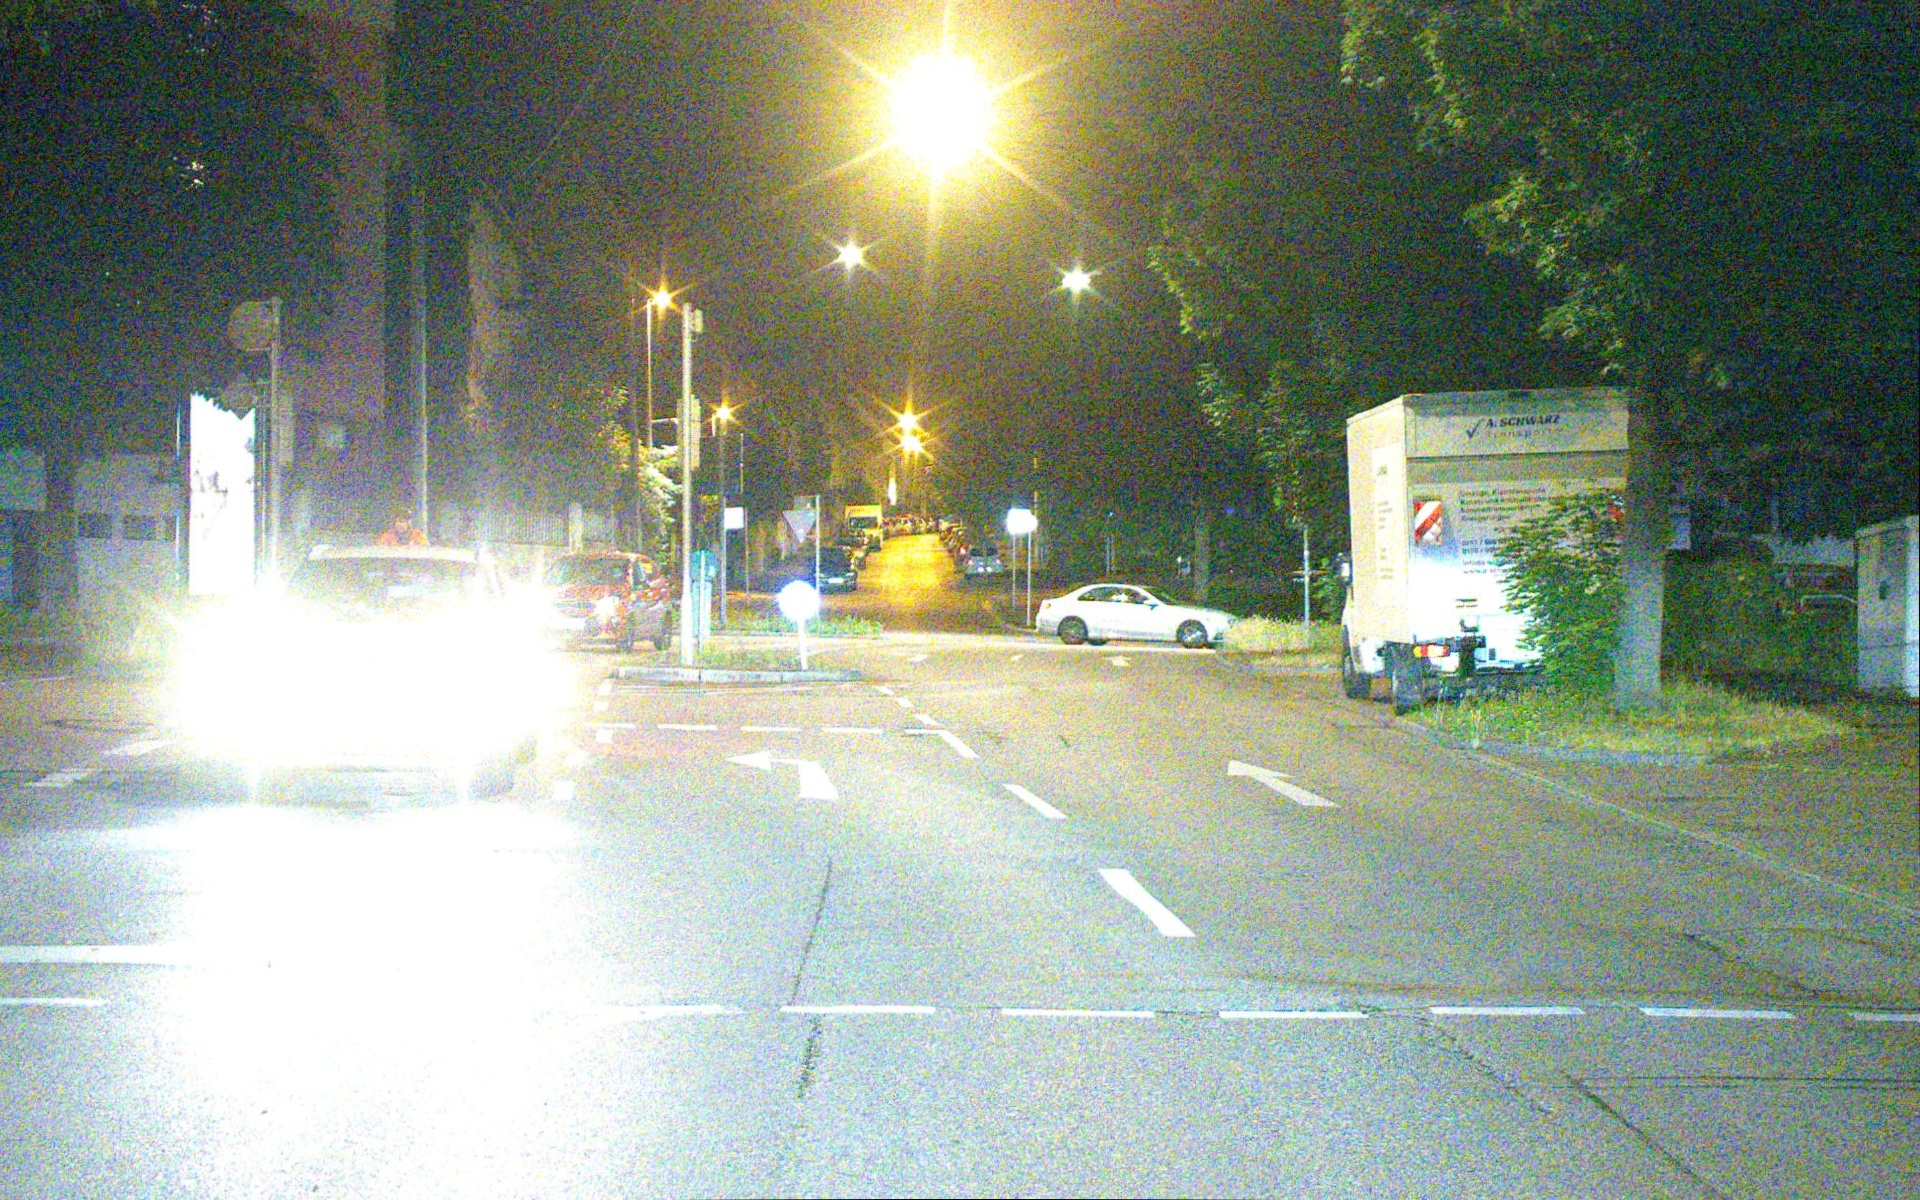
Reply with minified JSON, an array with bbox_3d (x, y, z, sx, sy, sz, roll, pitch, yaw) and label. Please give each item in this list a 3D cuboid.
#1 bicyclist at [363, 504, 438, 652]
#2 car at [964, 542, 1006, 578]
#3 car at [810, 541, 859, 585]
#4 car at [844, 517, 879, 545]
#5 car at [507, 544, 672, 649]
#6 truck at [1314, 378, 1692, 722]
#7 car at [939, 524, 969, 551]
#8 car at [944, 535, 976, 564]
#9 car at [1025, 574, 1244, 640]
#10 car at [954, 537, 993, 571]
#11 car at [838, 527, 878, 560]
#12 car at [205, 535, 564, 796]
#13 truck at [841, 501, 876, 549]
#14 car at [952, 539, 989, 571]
[{"bbox_3d":[-6.250,-0.248,38.450,0.690,1.631,0.896,1,0,-1],"label":"bicyclist"},{"bbox_3d":[1.036,-1.684,143.361,1.634,1.447,3.485,1,1,-1],"label":"car"},{"bbox_3d":[-4.891,-1.468,134.448,1.815,1.678,4.000,1,1,-1],"label":"car"},{"bbox_3d":[-5.360,-3.747,186.950,1.815,1.486,4.000,1,1,-2],"label":"car"},{"bbox_3d":[-5.482,-0.079,51.178,1.582,1.496,3.395,1,1,9],"label":"car"},{"bbox_3d":[5.279,-0.503,34.535,2.749,3.100,6.258,1,1,0],"label":"truck"},{"bbox_3d":[-0.358,-3.462,191.480,1.634,1.447,3.485,1,1,-1],"label":"car"},{"bbox_3d":[-0.008,-2.631,178.516,1.634,1.447,3.485,1,1,-1],"label":"car"},{"bbox_3d":[3.946,0.145,77.765,4.573,1.384,1.920,1,1,22],"label":"car"},{"bbox_3d":[0.597,-2.043,153.094,1.634,1.447,3.485,1,1,-1],"label":"car"},{"bbox_3d":[-4.782,-2.624,160.568,1.815,1.486,4.000,1,1,-2],"label":"car"},{"bbox_3d":[-3.655,0.356,22.470,1.857,1.529,4.028,1,1,-3],"label":"car"},{"bbox_3d":[-6.203,-4.556,209.580,2.086,2.838,5.832,1,1,-2],"label":"truck"},{"bbox_3d":[0.461,-2.094,159.279,1.634,1.447,3.485,1,1,-1],"label":"car"}]
